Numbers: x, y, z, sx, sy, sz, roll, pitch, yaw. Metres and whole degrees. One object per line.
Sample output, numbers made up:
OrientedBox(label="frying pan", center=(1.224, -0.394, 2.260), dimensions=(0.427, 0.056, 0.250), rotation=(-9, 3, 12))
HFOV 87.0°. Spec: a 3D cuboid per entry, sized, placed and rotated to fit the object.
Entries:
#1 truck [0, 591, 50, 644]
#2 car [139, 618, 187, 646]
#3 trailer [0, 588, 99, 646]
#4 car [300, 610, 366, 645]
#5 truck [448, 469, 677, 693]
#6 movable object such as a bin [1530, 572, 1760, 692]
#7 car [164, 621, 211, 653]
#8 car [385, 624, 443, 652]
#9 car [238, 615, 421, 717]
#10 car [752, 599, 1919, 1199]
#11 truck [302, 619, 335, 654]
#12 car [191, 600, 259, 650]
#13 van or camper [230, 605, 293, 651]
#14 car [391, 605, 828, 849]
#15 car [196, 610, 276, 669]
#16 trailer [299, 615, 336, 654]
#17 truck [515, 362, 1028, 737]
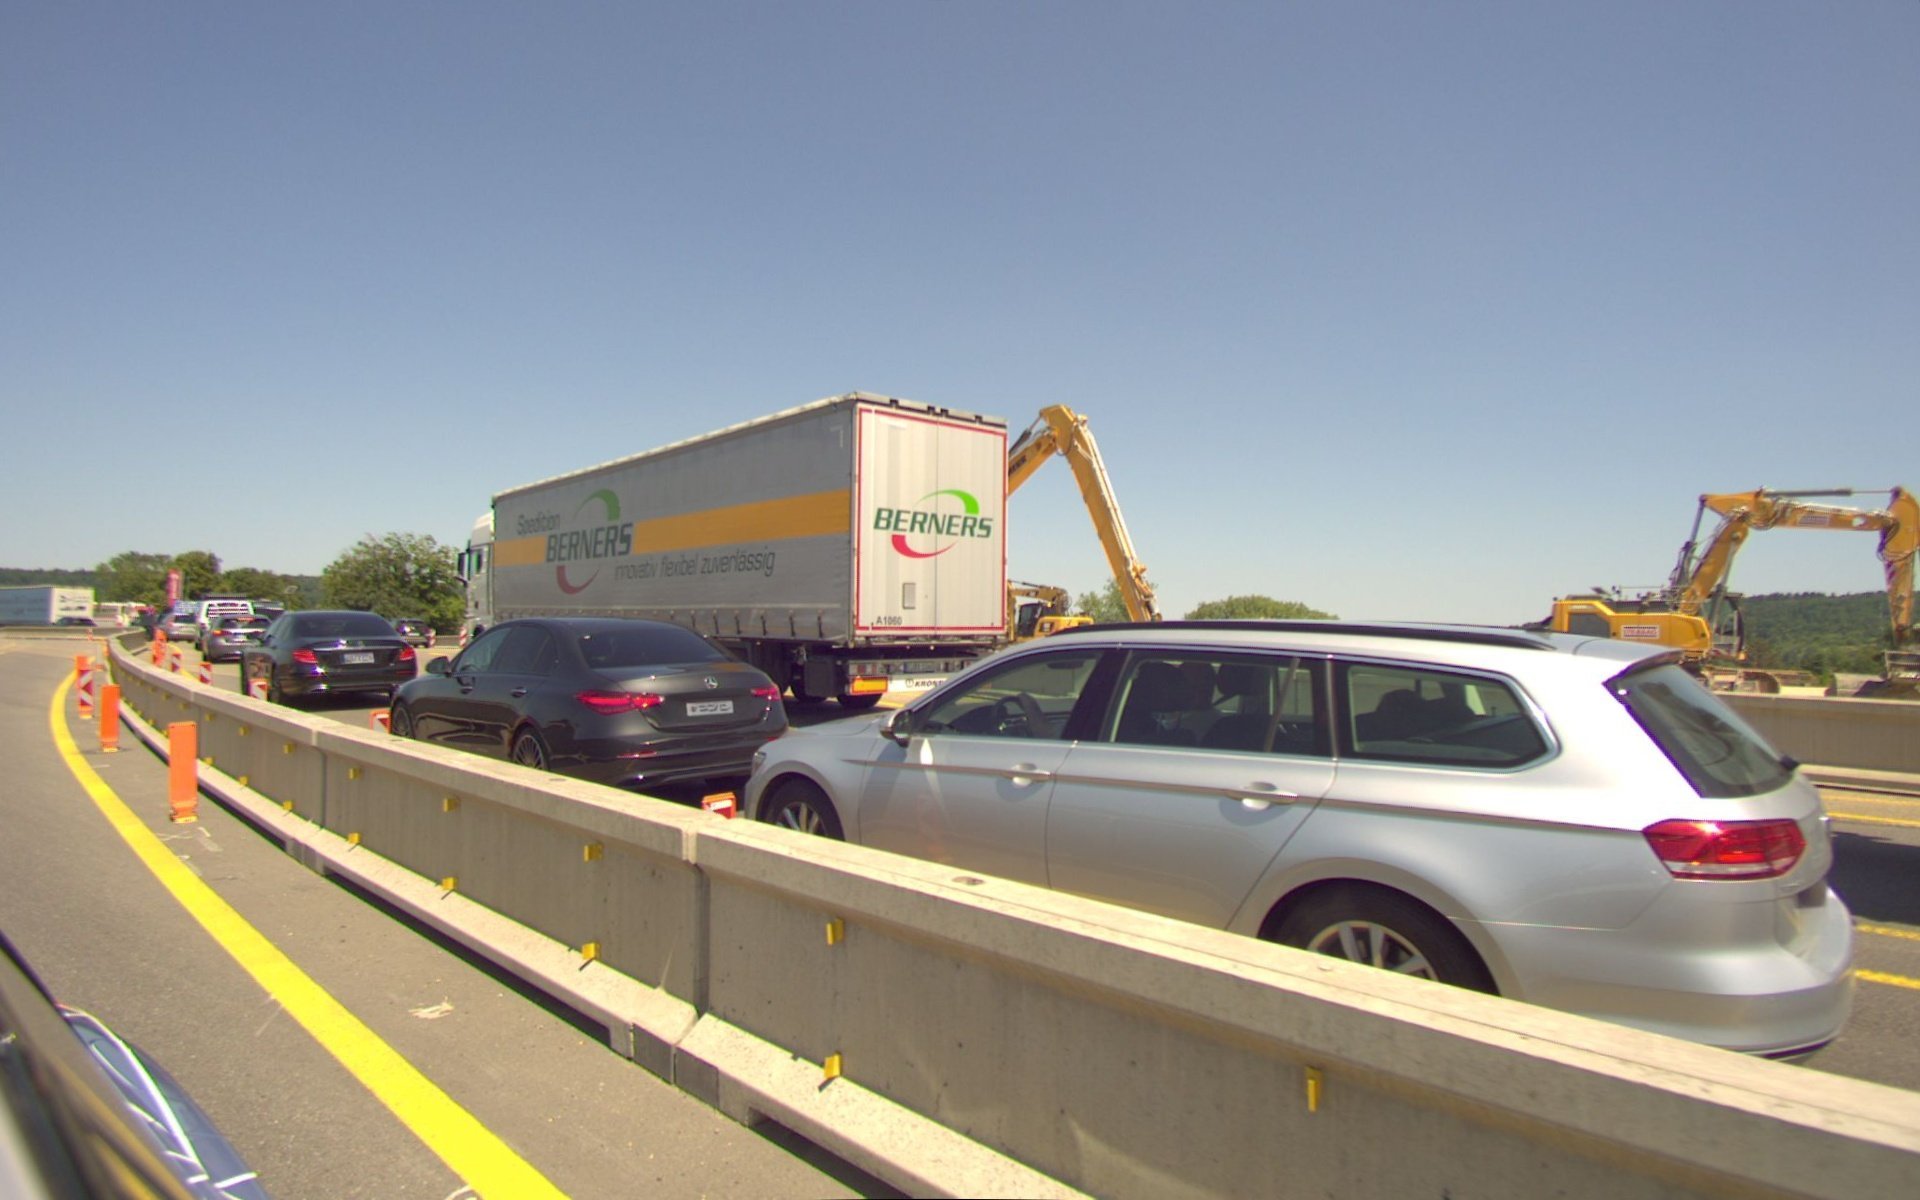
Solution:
OrientedBox(label="truck", center=(-77.632, 1.463, 82.847), dimensions=(6.117, 4.160, 2.892), rotation=(-1, -3, 32))
OrientedBox(label="car", center=(-53.681, 2.182, 68.151), dimensions=(4.710, 1.778, 1.756), rotation=(-2, -5, 43))
OrientedBox(label="trailer", center=(-72.345, 1.412, 79.519), dimensions=(13.868, 4.160, 2.892), rotation=(-1, -4, 32))
OrientedBox(label="car", center=(-29.125, 1.258, 46.936), dimensions=(1.968, 1.513, 4.662), rotation=(0, -1, -40))
OrientedBox(label="truck", center=(-9.023, -0.274, 22.582), dimensions=(2.737, 4.292, 6.206), rotation=(2, -3, -42))
OrientedBox(label="movable object such as a bin", center=(19.514, 1.026, 28.886), dimensions=(4.988, 3.049, 3.627), rotation=(-4, -5, 40))
OrientedBox(label="car", center=(-41.374, 1.949, 54.176), dimensions=(1.735, 1.628, 4.234), rotation=(1, -2, -41))
OrientedBox(label="car", center=(-29.073, 2.024, 53.825), dimensions=(1.783, 1.404, 4.662), rotation=(5, -5, -40))
OrientedBox(label="car", center=(-10.173, 0.969, 16.192), dimensions=(1.705, 1.419, 4.133), rotation=(1, -2, -43))
OrientedBox(label="car", center=(1.166, 0.767, 4.144), dimensions=(4.554, 1.455, 1.659), rotation=(-1, -2, 43))
OrientedBox(label="truck", center=(-77.936, 4.534, 123.087), dimensions=(3.106, 4.016, 6.365), rotation=(3, -4, -31))
OrientedBox(label="car", center=(-29.751, 1.014, 40.897), dimensions=(1.849, 1.887, 5.066), rotation=(1, -2, -40))
OrientedBox(label="van or camper", center=(-41.006, 1.644, 59.340), dimensions=(2.073, 2.561, 6.311), rotation=(4, -4, -43))
OrientedBox(label="car", center=(-3.032, 0.814, 8.191), dimensions=(4.250, 1.464, 1.637), rotation=(-1, -2, 45))
OrientedBox(label="car", center=(-21.565, 1.110, 30.088), dimensions=(1.491, 1.616, 3.958), rotation=(0, 0, -42))
OrientedBox(label="trailer", center=(-74.616, 4.142, 117.676), dimensions=(3.106, 4.143, 14.204), rotation=(3, -4, -31))
OrientedBox(label="truck", center=(-4.021, -0.431, 16.924), dimensions=(2.740, 4.310, 11.795), rotation=(2, -3, -42))
